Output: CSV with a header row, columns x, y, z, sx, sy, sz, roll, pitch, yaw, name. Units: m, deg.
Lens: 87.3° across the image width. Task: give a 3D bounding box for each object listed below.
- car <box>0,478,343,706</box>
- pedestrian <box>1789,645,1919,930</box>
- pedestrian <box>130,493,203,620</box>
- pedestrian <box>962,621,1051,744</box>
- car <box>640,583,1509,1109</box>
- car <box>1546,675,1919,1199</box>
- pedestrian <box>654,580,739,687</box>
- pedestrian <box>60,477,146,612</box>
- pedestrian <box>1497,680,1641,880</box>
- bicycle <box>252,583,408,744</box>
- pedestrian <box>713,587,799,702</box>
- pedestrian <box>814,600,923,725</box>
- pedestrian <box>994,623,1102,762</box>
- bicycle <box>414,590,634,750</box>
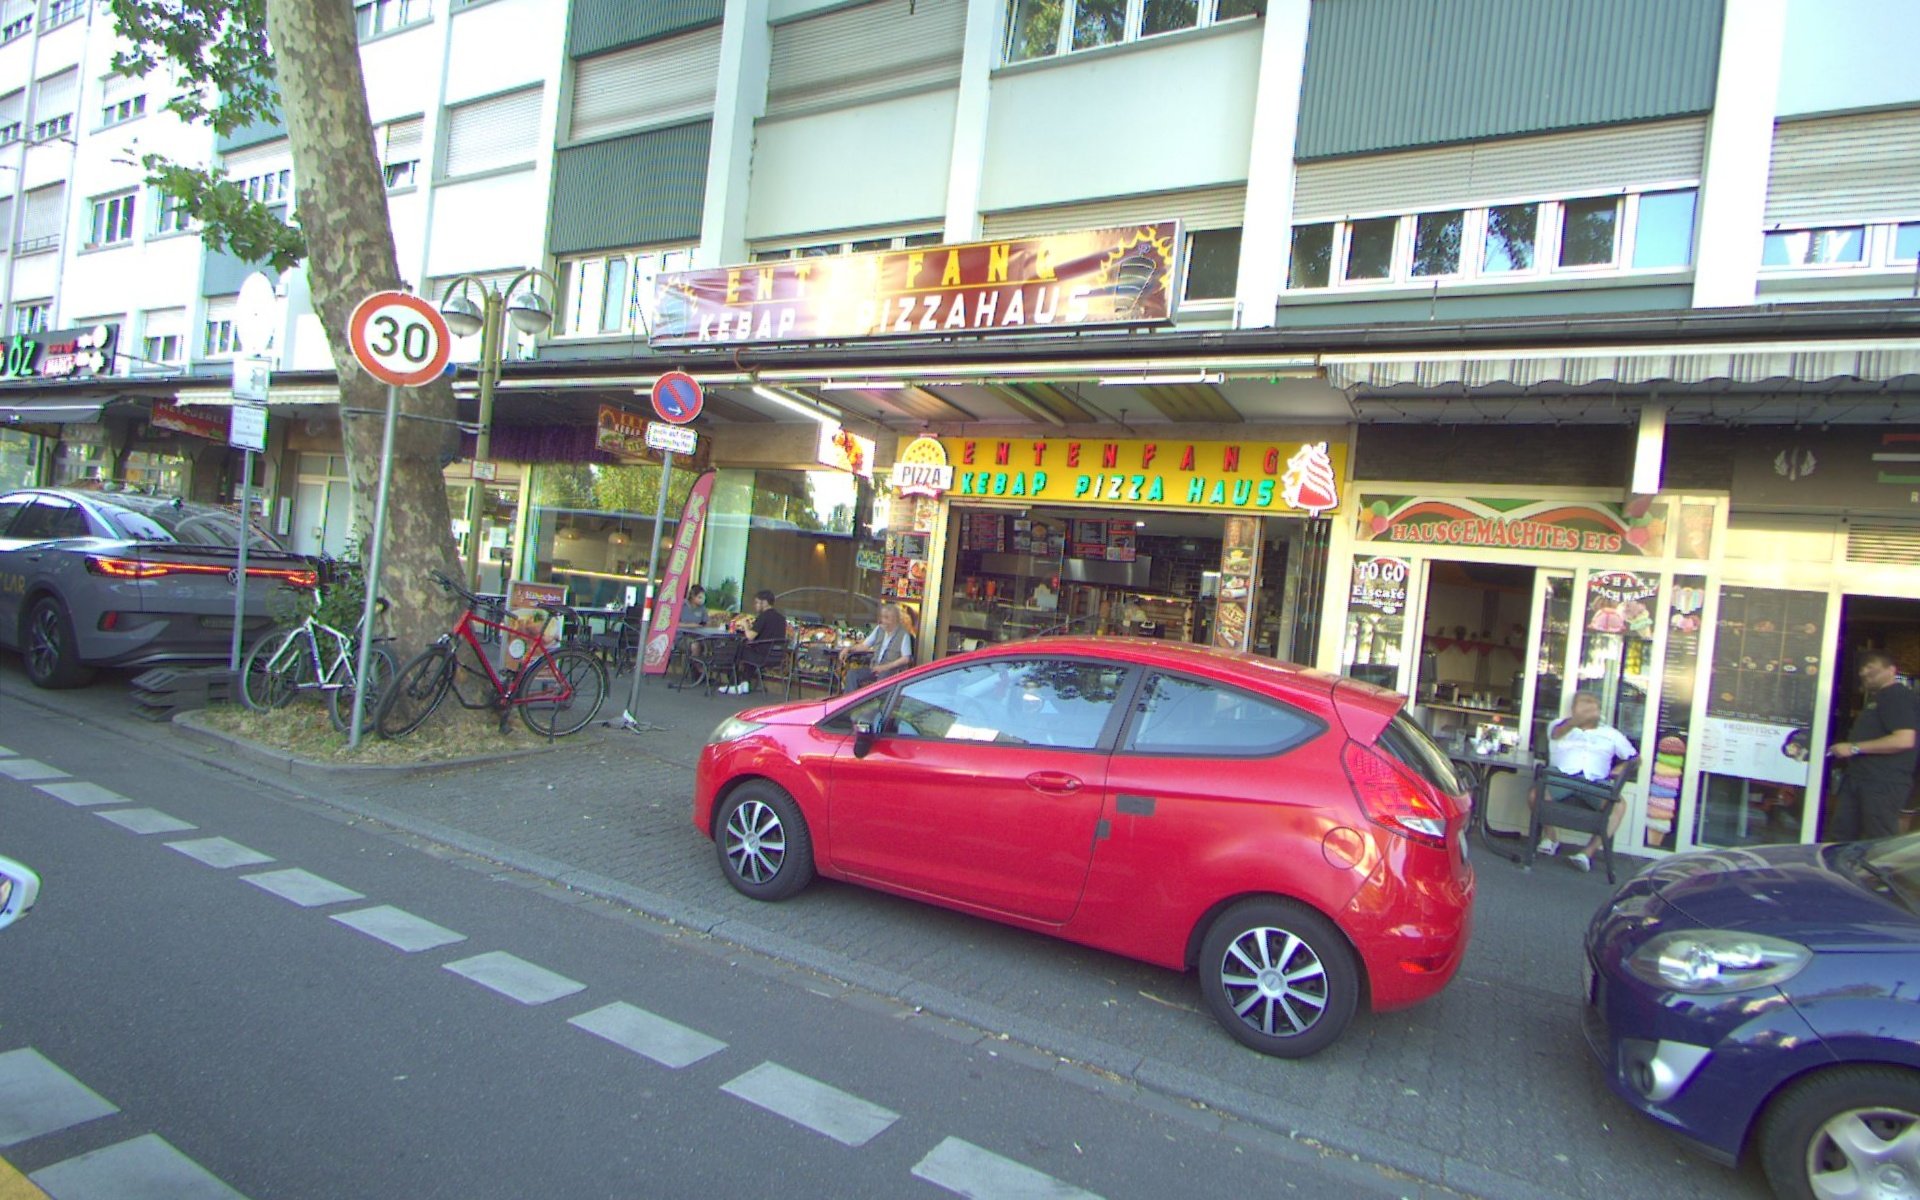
x,y,z,sx,sy,sz,roll,pitch,yaw,name
-7.848,-0.204,9.224,4.223,1.619,1.742,7,2,27,car
6.156,1.216,6.783,0.579,1.759,0.596,8,3,29,pedestrian
-13.378,-0.732,16.963,0.685,2.039,0.613,7,1,31,pedestrian
0.486,0.825,10.393,0.585,1.172,0.671,6,3,31,pedestrian
0.470,0.847,5.005,3.780,1.448,1.668,7,2,27,car
3.866,1.225,2.919,3.543,1.485,1.620,7,2,29,car
-3.243,0.407,12.372,0.694,1.220,0.675,7,3,42,pedestrian
-13.607,-0.873,15.974,0.684,2.039,0.692,7,1,28,pedestrian
4.630,1.296,7.633,0.767,1.249,1.202,6,3,33,pedestrian
-4.452,0.426,7.091,1.110,0.941,0.295,9,6,21,bicycle
-2.397,0.509,11.809,0.701,1.260,0.614,7,3,41,pedestrian
-0.986,0.662,10.877,0.861,1.237,0.688,2,3,-44,pedestrian
0.825,0.838,9.422,0.740,1.172,0.593,6,3,33,pedestrian
-3.240,0.505,7.569,0.291,1.082,1.455,12,7,42,bicycle
